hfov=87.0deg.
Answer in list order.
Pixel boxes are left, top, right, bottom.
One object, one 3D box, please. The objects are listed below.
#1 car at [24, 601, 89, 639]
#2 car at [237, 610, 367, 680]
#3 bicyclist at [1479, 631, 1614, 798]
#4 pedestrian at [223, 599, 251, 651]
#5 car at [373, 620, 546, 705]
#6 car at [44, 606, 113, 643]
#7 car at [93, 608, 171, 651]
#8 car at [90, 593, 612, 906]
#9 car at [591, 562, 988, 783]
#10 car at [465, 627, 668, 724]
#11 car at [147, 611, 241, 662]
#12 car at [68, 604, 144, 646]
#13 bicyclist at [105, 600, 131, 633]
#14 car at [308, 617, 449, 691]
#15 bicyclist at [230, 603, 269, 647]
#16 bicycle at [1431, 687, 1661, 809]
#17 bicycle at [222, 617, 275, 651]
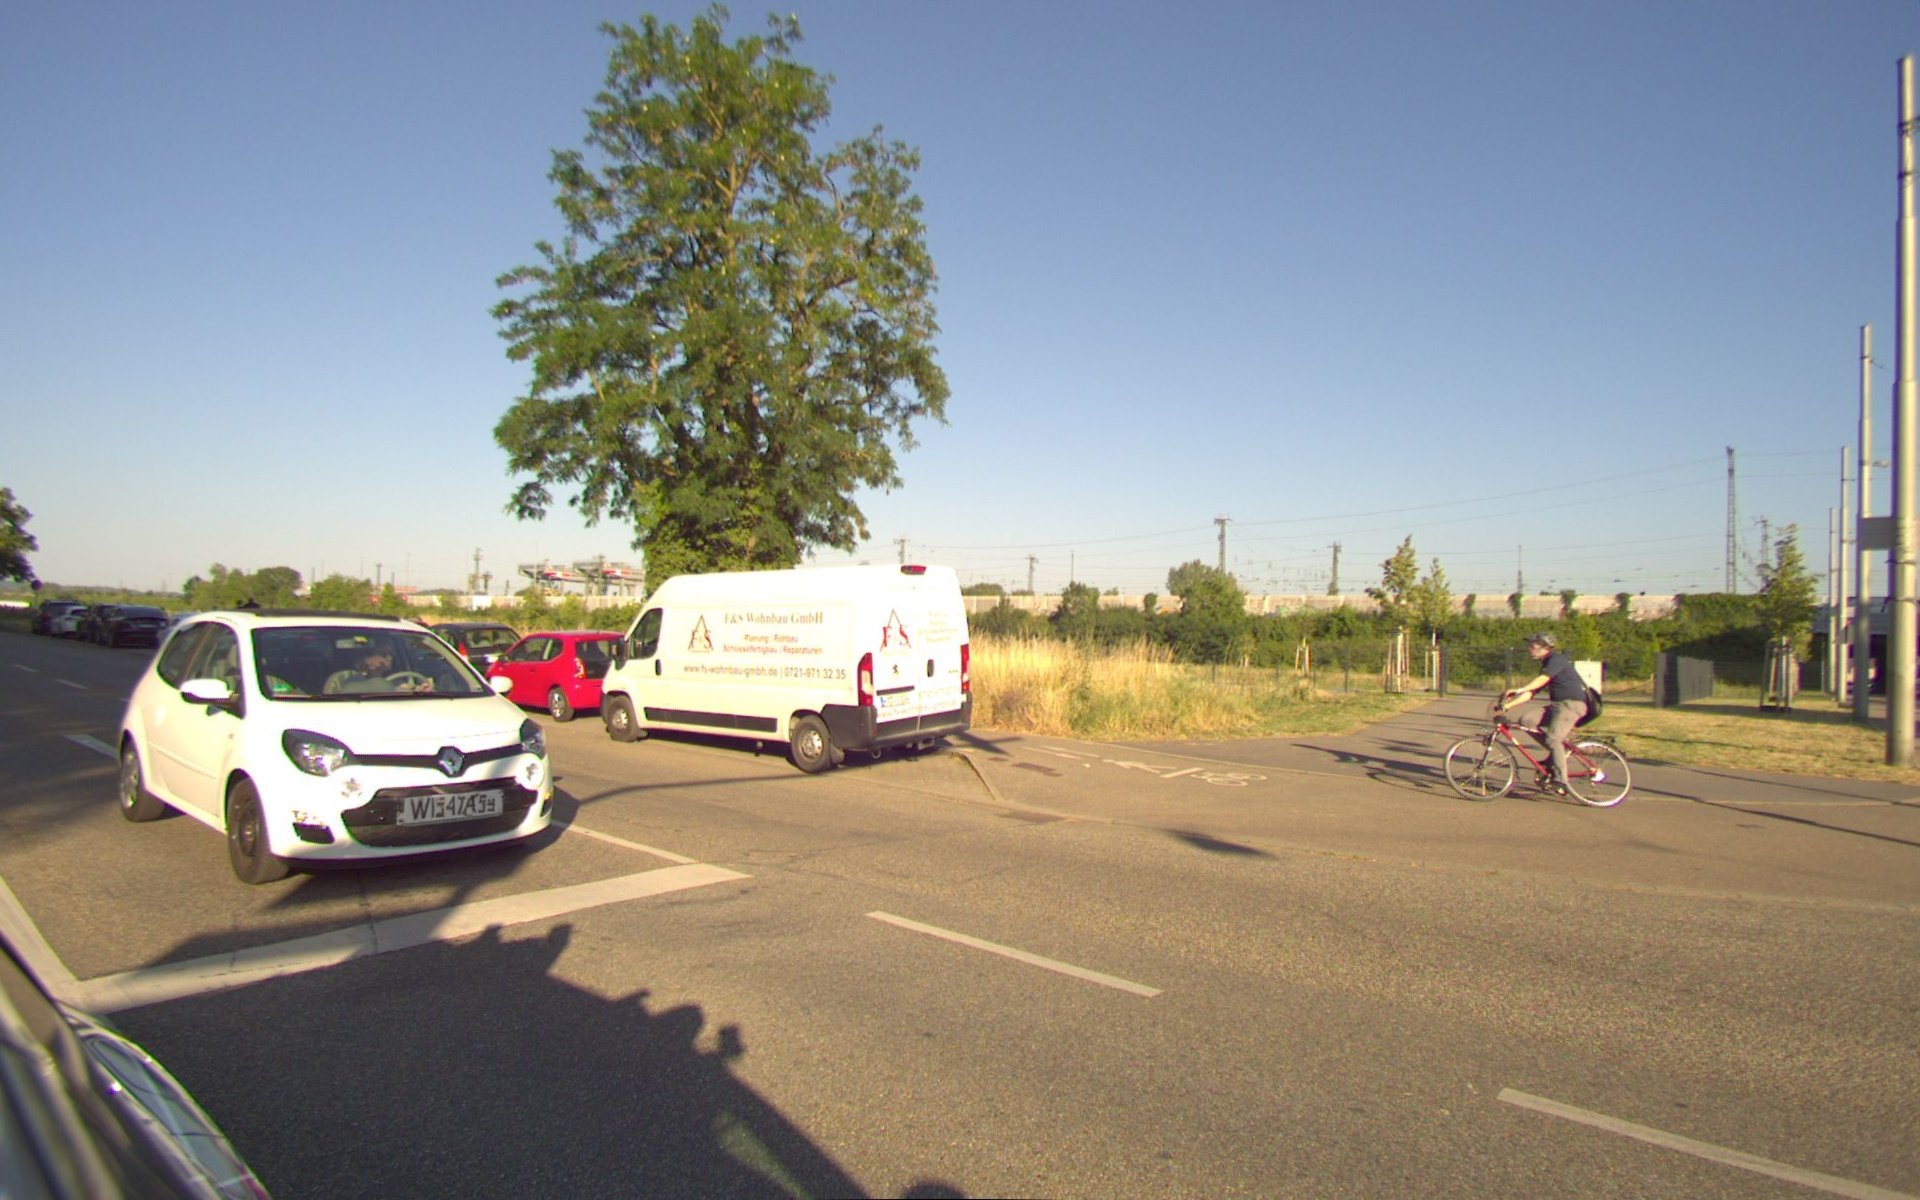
[{"bbox_3d":[-45.060,0.977,50.439,4.218,1.789,1.866,0,-3,41],"label":"car"},{"bbox_3d":[-17.296,1.146,26.553,4.002,1.672,1.643,0,-3,39],"label":"car"},{"bbox_3d":[6.161,1.172,10.685,0.962,1.637,0.876,2,-3,10],"label":"bicyclist"},{"bbox_3d":[-28.687,0.982,40.153,0.729,2.029,0.608,0,-3,38],"label":"pedestrian"},{"bbox_3d":[-10.376,1.246,20.908,3.813,1.541,1.723,0,-3,39],"label":"car"},{"bbox_3d":[-40.606,1.120,46.590,4.218,1.586,1.800,0,-3,41],"label":"car"},{"bbox_3d":[-32.213,1.147,39.341,4.291,1.537,1.799,0,-3,44],"label":"car"},{"bbox_3d":[-4.130,0.748,6.657,3.771,1.480,1.684,0,-3,39],"label":"car"},{"bbox_3d":[-2.491,0.802,13.839,5.554,2.455,2.208,0,0,38],"label":"car"},{"bbox_3d":[-7.064,1.289,18.059,3.690,1.498,1.723,0,-3,39],"label":"car"},{"bbox_3d":[-25.411,1.194,33.554,3.580,1.537,1.684,0,-3,41],"label":"car"},{"bbox_3d":[-36.445,1.060,43.169,4.218,1.650,1.800,0,-3,41],"label":"car"},{"bbox_3d":[-42.477,0.829,51.073,1.145,1.609,0.758,0,-3,41],"label":"bicyclist"},{"bbox_3d":[-13.653,1.234,23.716,3.575,1.541,1.643,0,-3,39],"label":"car"},{"bbox_3d":[-26.990,0.956,38.424,1.145,1.609,0.856,0,-3,39],"label":"bicyclist"},{"bbox_3d":[6.104,1.520,10.627,1.926,1.101,0.753,2,-3,7],"label":"bicycle"},{"bbox_3d":[-26.993,1.281,38.380,2.479,1.197,0.928,0,-3,38],"label":"bicycle"}]
